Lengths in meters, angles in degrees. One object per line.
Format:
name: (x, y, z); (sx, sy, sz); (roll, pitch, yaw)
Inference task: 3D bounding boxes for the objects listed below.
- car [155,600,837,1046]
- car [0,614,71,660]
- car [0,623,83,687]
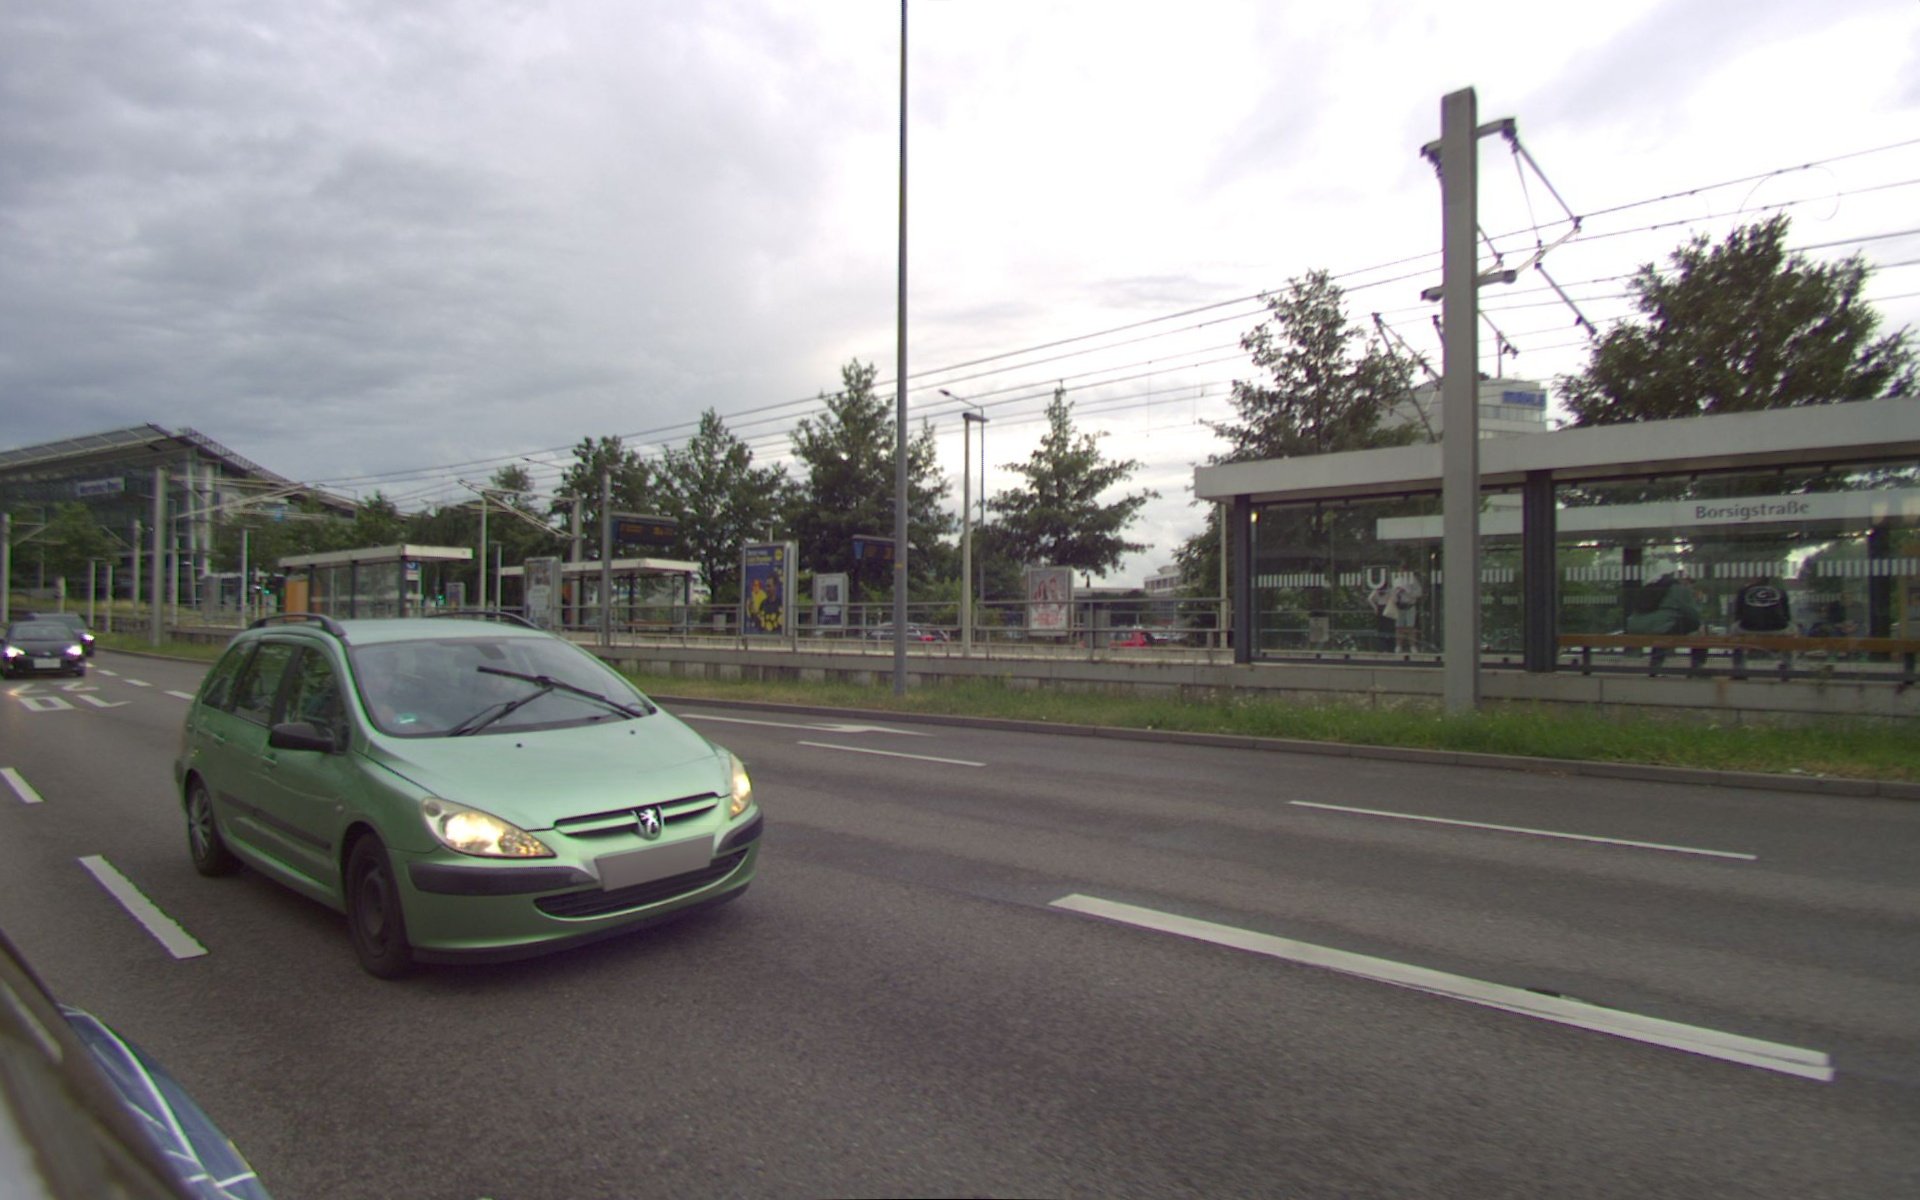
car: (-2.780, 0.761, 5.480); (4.401, 1.479, 1.677); (0, 0, 41)
car: (-35.531, 1.377, 38.639); (4.188, 1.604, 1.710); (0, 0, 39)
car: (-25.291, 1.449, 27.646); (3.906, 1.534, 1.674); (0, 0, 44)
